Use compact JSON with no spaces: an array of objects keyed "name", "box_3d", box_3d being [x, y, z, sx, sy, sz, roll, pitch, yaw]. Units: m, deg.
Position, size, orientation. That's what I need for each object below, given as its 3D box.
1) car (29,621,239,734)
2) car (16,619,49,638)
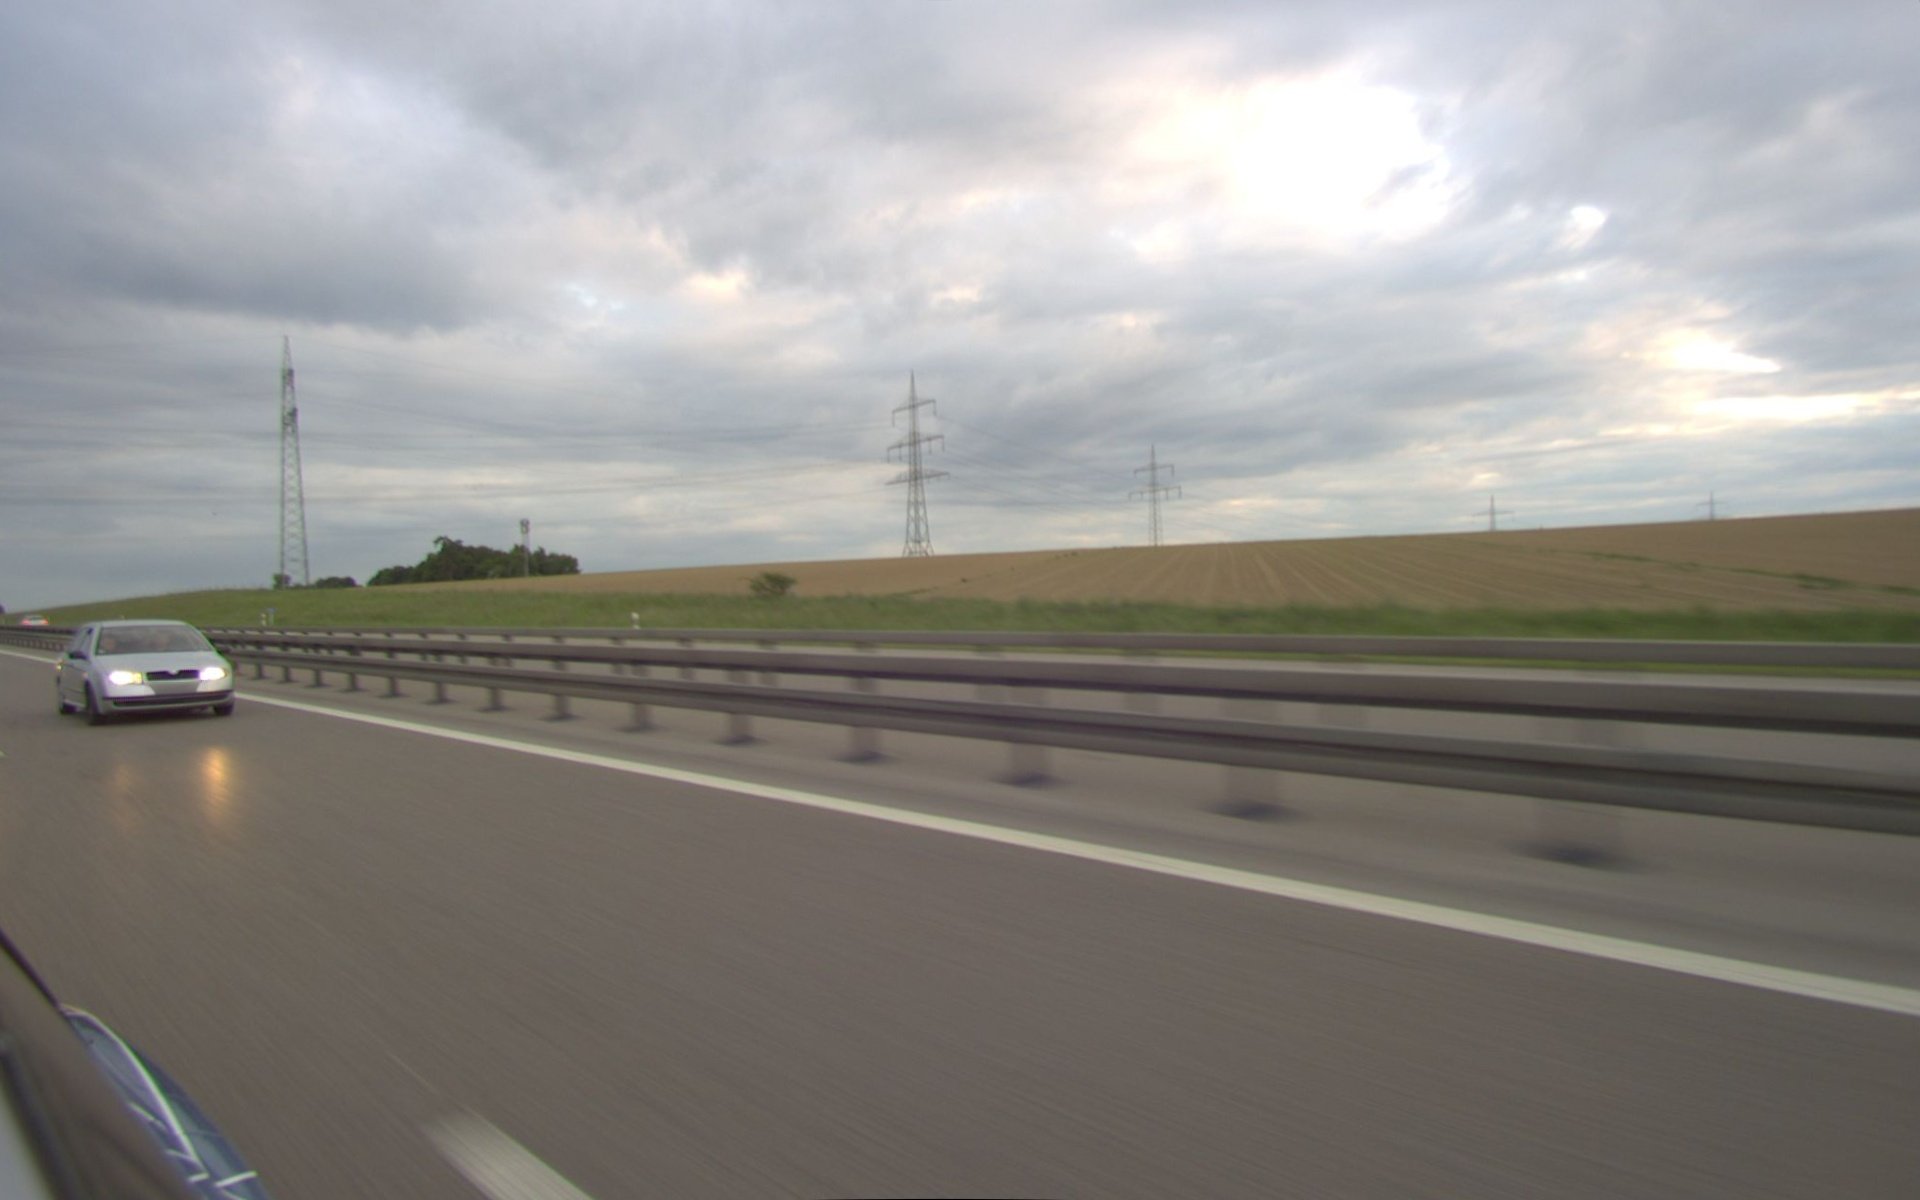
[{"name":"car","box_3d":[-12.228,1.026,14.867,4.598,1.400,1.572,-1,-1,40]},{"name":"car","box_3d":[-90.228,2.812,98.436,4.588,1.711,1.772,-2,2,42]}]
